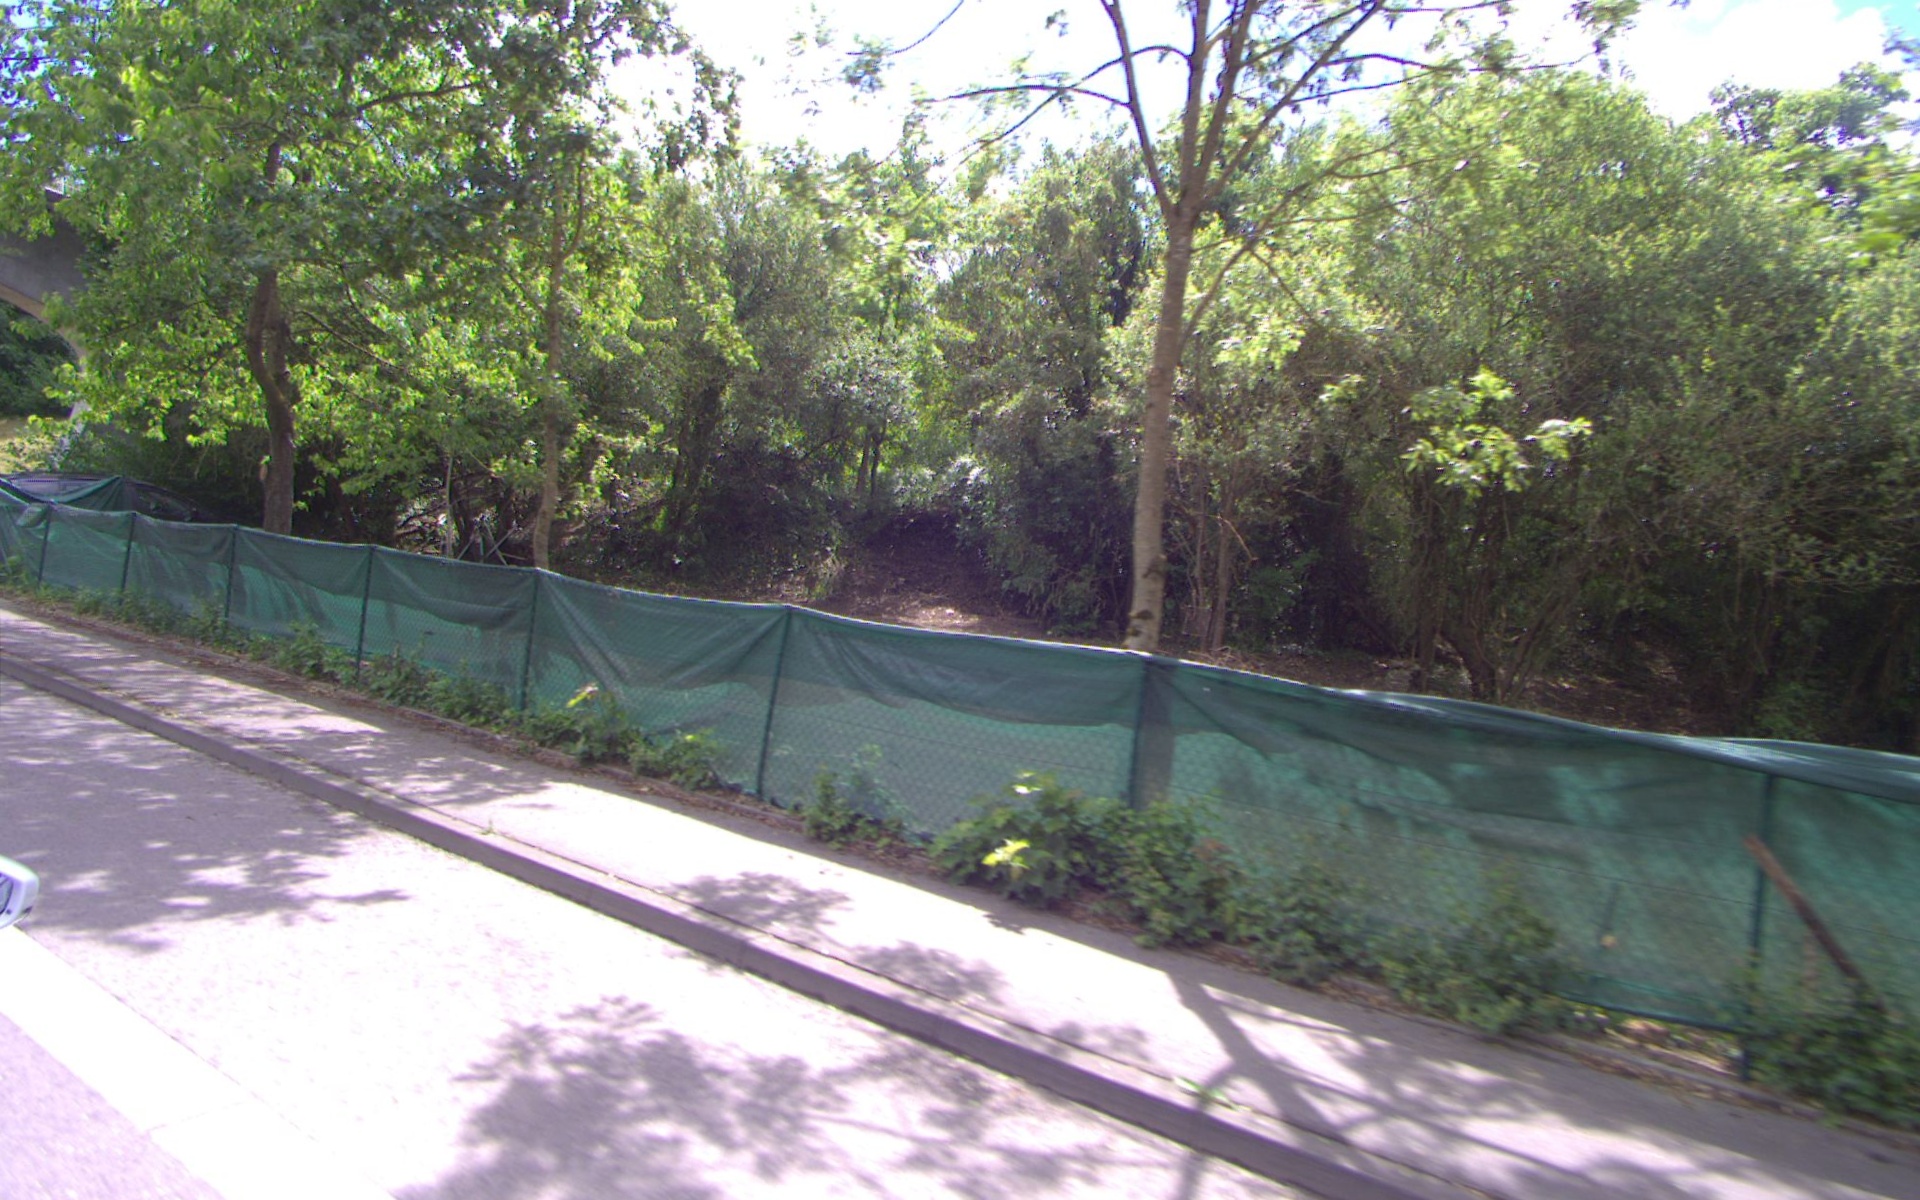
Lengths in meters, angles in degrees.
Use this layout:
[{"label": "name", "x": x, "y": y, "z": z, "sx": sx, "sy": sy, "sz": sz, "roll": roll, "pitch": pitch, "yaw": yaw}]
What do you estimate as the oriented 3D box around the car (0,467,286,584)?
[{"label": "car", "x": -15.530, "y": -1.326, "z": 18.713, "sx": 1.968, "sy": 1.693, "sz": 4.523, "roll": 5, "pitch": 1, "yaw": 34}]
